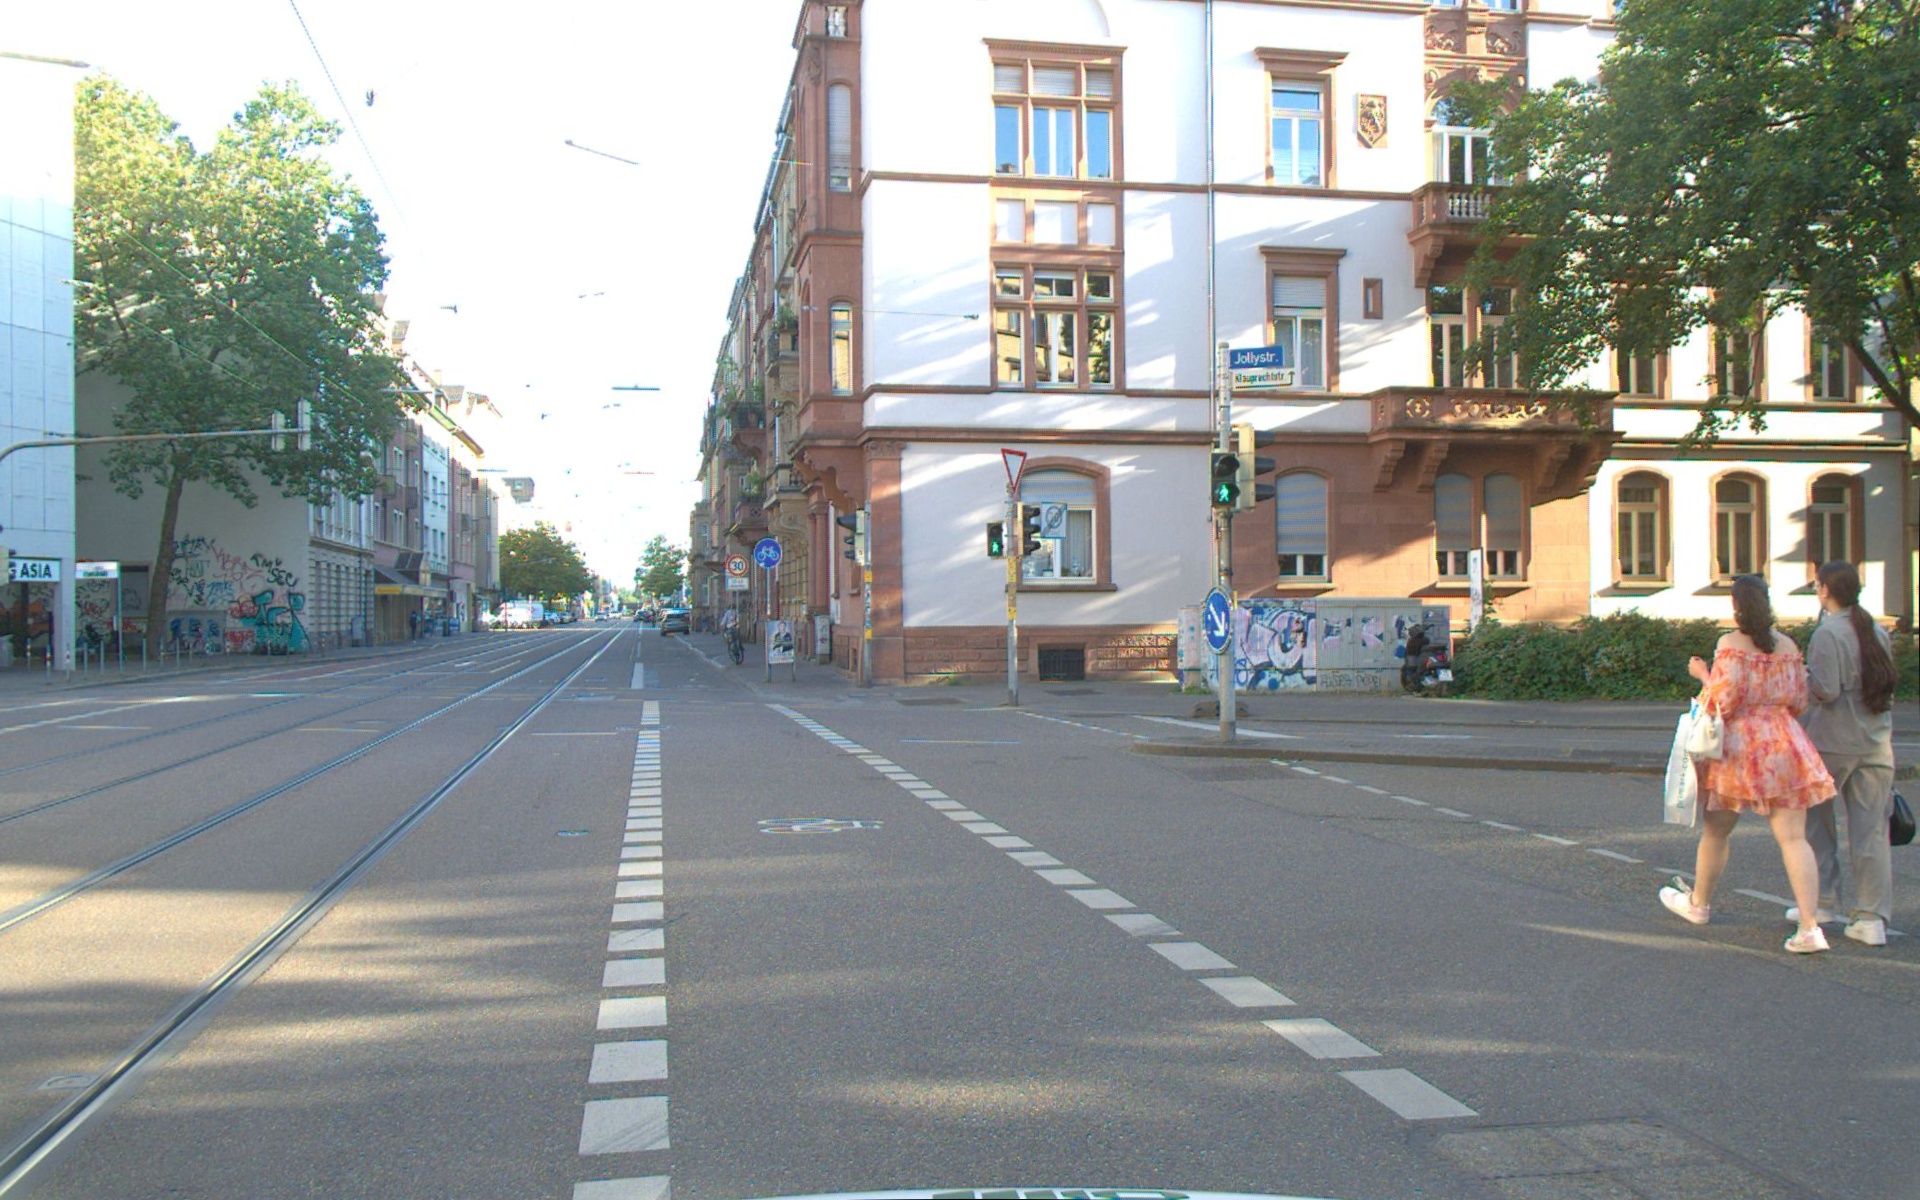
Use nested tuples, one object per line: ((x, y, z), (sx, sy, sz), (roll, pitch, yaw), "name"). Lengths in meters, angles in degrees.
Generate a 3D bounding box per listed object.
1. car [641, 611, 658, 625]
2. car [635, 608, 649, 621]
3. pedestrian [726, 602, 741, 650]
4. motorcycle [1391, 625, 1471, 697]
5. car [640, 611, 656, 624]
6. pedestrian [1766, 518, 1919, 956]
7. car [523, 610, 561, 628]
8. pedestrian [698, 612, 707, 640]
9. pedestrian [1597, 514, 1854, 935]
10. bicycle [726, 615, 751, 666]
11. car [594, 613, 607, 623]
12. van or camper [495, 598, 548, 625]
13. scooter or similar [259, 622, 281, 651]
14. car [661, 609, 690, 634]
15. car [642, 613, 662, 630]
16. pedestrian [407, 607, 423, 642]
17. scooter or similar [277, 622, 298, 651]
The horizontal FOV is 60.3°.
((-38.422, 2.263, 204.700), (1.958, 1.758, 3.988), (0, -1, -11), "car")
((-46.090, 2.127, 239.957), (1.958, 1.758, 3.988), (0, -1, -11), "car")
((-8.643, 0.980, 63.234), (0.535, 1.811, 0.503), (0, -1, -10), "pedestrian")
((7.877, 0.994, 27.744), (0.704, 1.037, 2.287), (-1, 2, 1), "motorcycle")
((-40.263, 2.255, 213.337), (1.958, 1.758, 3.988), (0, -1, -11), "car")
((4.295, 0.607, 7.722), (0.677, 1.942, 0.669), (1, 1, -8), "pedestrian")
((-49.080, 2.265, 194.268), (3.955, 2.049, 1.975), (0, -1, -36), "car")
((-16.860, 1.692, 108.302), (0.535, 1.811, 0.747), (0, -1, -10), "pedestrian")
((3.568, 0.555, 7.778), (0.788, 1.831, 0.762), (3, 0, 4), "pedestrian")
((-6.052, 1.097, 45.209), (0.641, 1.347, 2.172), (-1, 0, -8), "bicycle")
((-54.025, 2.759, 248.850), (1.787, 1.467, 3.989), (0, -1, -11), "car")
((-42.437, 1.143, 159.954), (4.610, 2.608, 1.969), (1, -1, -42), "van or camper")
((-26.070, 1.387, 62.481), (0.507, 1.064, 1.473), (0, 0, -13), "scooter or similar")
((-19.513, 1.467, 113.471), (1.914, 1.713, 3.991), (-1, 0, -10), "car")
((-32.590, 2.239, 174.969), (1.958, 1.758, 3.988), (0, -1, -11), "car")
((-27.361, 1.234, 83.077), (0.688, 1.759, 0.646), (-1, -1, -11), "pedestrian")
((-25.471, 1.381, 62.636), (0.507, 1.076, 1.473), (0, 0, -13), "scooter or similar")
